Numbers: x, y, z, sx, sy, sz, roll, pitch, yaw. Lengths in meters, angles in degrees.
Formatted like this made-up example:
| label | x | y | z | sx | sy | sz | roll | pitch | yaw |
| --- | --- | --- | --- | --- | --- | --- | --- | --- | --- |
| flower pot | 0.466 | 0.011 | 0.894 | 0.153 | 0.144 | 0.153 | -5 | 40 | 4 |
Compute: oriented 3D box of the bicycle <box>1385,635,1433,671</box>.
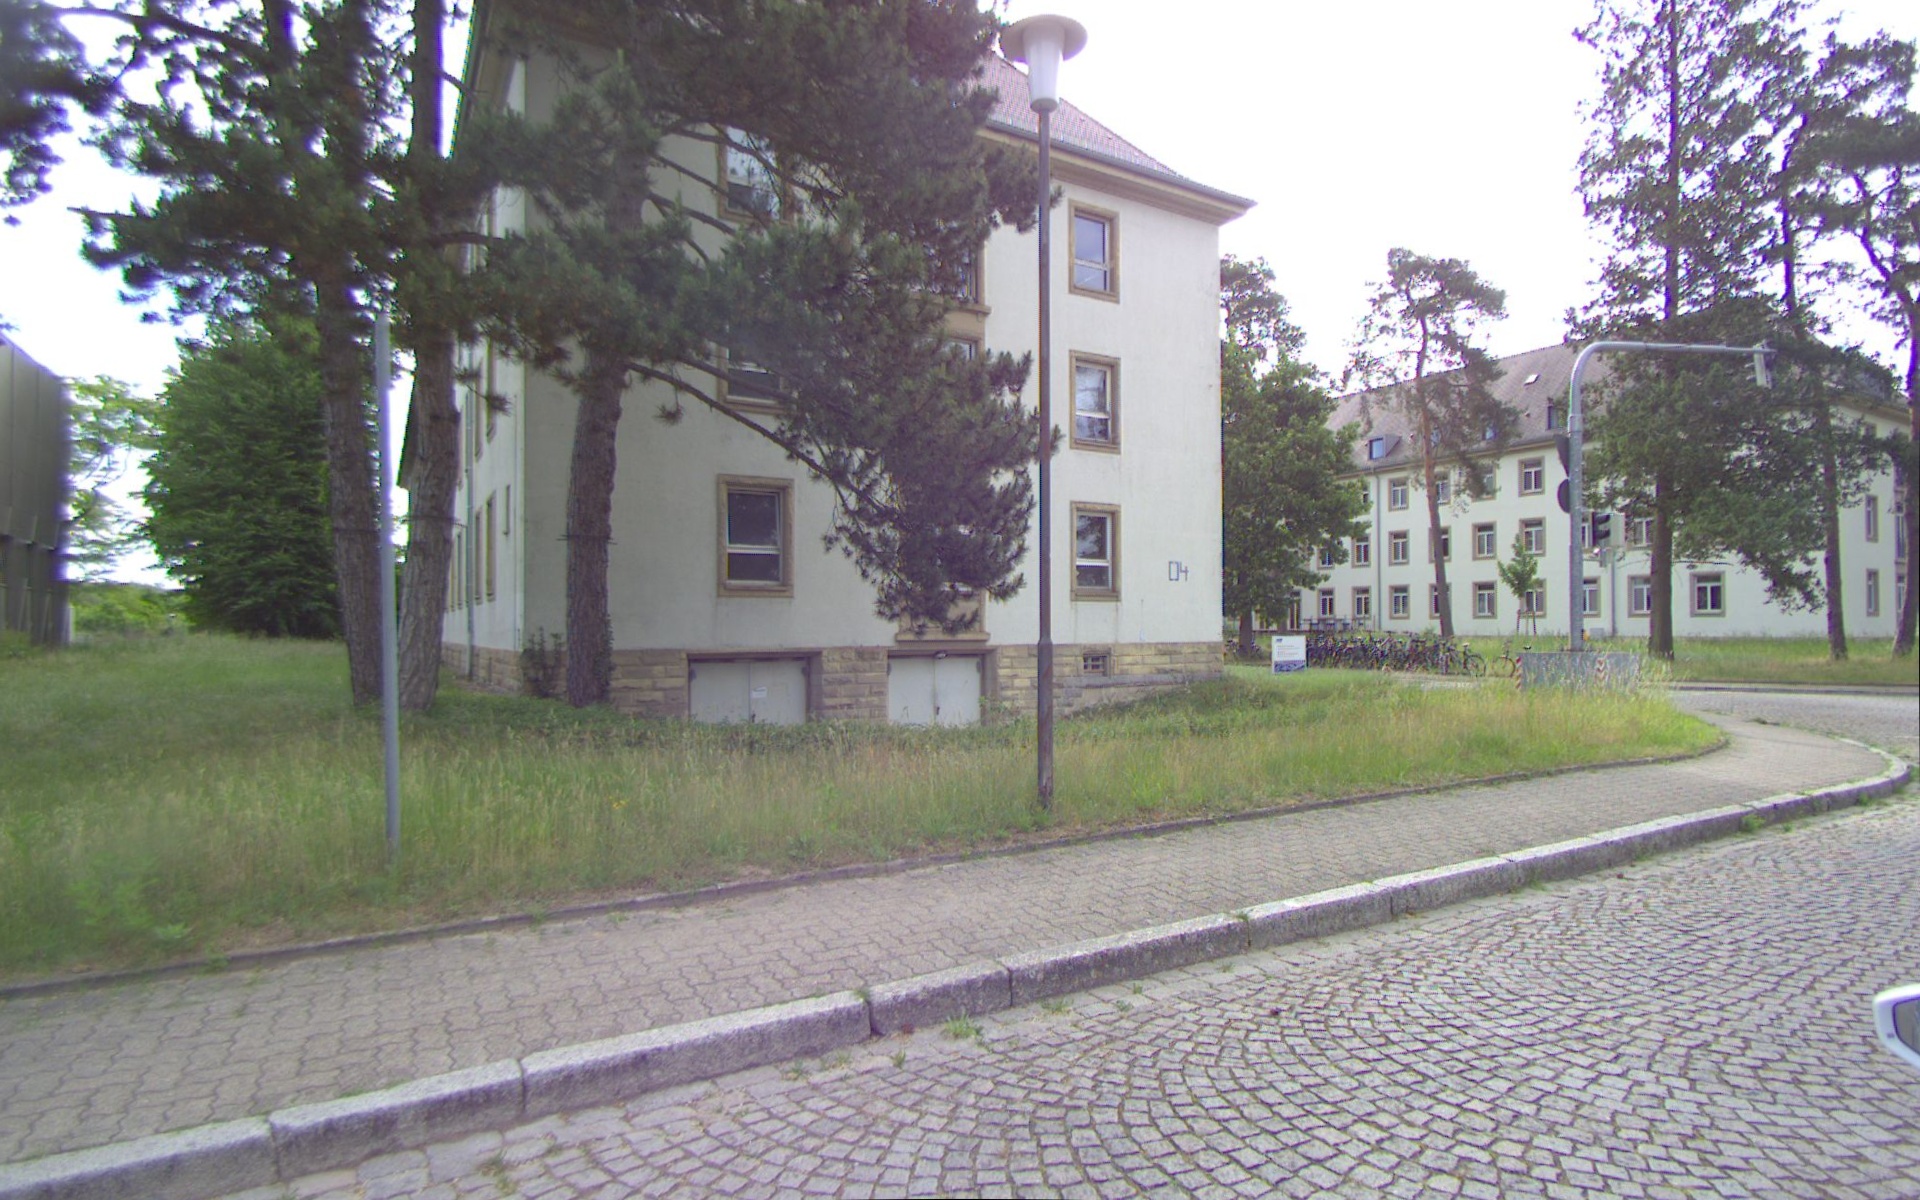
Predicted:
| label | x | y | z | sx | sy | sz | roll | pitch | yaw |
| --- | --- | --- | --- | --- | --- | --- | --- | --- | --- |
| bicycle | 15.263 | 1.779 | 34.110 | 1.909 | 1.193 | 0.524 | 1 | -2 | -33 |

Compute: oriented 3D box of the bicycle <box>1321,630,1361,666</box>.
| label | x | y | z | sx | sy | sz | roll | pitch | yaw |
| --- | --- | --- | --- | --- | --- | --- | --- | --- | --- |
| bicycle | 13.829 | 1.733 | 36.428 | 1.677 | 1.300 | 0.446 | 1 | -2 | -33 |

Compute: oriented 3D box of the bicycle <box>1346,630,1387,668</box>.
| label | x | y | z | sx | sy | sz | roll | pitch | yaw |
| --- | --- | --- | --- | --- | --- | --- | --- | --- | --- |
| bicycle | 14.418 | 1.732 | 35.596 | 1.677 | 1.300 | 0.446 | 1 | -2 | -33 |

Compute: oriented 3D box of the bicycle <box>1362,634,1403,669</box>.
| label | x | y | z | sx | sy | sz | roll | pitch | yaw |
| --- | --- | --- | --- | --- | --- | --- | --- | --- | --- |
| bicycle | 14.691 | 1.780 | 34.927 | 1.677 | 1.193 | 0.446 | 1 | -2 | -33 |

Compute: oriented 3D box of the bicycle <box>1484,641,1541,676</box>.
| label | x | y | z | sx | sy | sz | roll | pitch | yaw |
| --- | --- | --- | --- | --- | --- | --- | --- | --- | --- |
| bicycle | 16.299 | 1.712 | 29.652 | 0.447 | 1.009 | 1.453 | 1 | -2 | -29 |

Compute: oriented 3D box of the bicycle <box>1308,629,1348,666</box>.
| label | x | y | z | sx | sy | sz | roll | pitch | yaw |
| --- | --- | --- | --- | --- | --- | --- | --- | --- | --- |
| bicycle | 13.523 | 1.734 | 36.899 | 1.677 | 1.300 | 0.446 | 1 | -2 | -33 |

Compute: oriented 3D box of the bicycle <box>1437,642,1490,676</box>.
| label | x | y | z | sx | sy | sz | roll | pitch | yaw |
| --- | --- | --- | --- | --- | --- | --- | --- | --- | --- |
| bicycle | 15.506 | 1.810 | 30.950 | 0.447 | 1.009 | 1.453 | 1 | -2 | -29 |

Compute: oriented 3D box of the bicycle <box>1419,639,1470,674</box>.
| label | x | y | z | sx | sy | sz | roll | pitch | yaw |
| --- | --- | --- | --- | --- | --- | --- | --- | --- | --- |
| bicycle | 15.953 | 1.841 | 33.037 | 1.975 | 1.092 | 0.571 | 1 | -2 | -33 |

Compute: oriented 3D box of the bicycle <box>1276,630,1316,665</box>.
| label | x | y | z | sx | sy | sz | roll | pitch | yaw |
| --- | --- | --- | --- | --- | --- | --- | --- | --- | --- |
| bicycle | 12.833 | 1.798 | 38.376 | 1.766 | 1.300 | 0.440 | 1 | -2 | -33 |

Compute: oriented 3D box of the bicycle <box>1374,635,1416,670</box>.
| label | x | y | z | sx | sy | sz | roll | pitch | yaw |
| --- | --- | --- | --- | --- | --- | --- | --- | --- | --- |
| bicycle | 14.955 | 1.792 | 34.521 | 1.677 | 1.193 | 0.446 | 1 | -2 | -33 |

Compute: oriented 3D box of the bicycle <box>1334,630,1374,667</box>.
| label | x | y | z | sx | sy | sz | roll | pitch | yaw |
| --- | --- | --- | --- | --- | --- | --- | --- | --- | --- |
| bicycle | 14.127 | 1.732 | 36.008 | 1.677 | 1.300 | 0.446 | 1 | -2 | -33 |

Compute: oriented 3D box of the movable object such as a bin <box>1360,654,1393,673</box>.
| label | x | y | z | sx | sy | sz | roll | pitch | yaw |
| --- | --- | --- | --- | --- | --- | --- | --- | --- | --- |
| movable object such as a bin | 11.828 | 1.791 | 28.536 | 0.439 | 0.510 | 0.746 | 1 | -2 | -29 |

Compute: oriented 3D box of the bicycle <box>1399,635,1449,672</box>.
| label | x | y | z | sx | sy | sz | roll | pitch | yaw |
| --- | --- | --- | --- | --- | --- | --- | --- | --- | --- |
| bicycle | 15.521 | 1.777 | 33.584 | 1.933 | 1.193 | 0.571 | 1 | -2 | -33 |

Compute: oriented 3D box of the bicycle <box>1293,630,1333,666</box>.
| label | x | y | z | sx | sy | sz | roll | pitch | yaw |
| --- | --- | --- | --- | --- | --- | --- | --- | --- | --- |
| bicycle | 13.163 | 1.789 | 37.456 | 1.677 | 1.300 | 0.446 | 1 | -2 | -33 |

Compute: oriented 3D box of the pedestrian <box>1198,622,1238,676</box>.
| label | x | y | z | sx | sy | sz | roll | pitch | yaw |
| --- | --- | --- | --- | --- | --- | --- | --- | --- | --- |
| pedestrian | 8.237 | 1.550 | 32.114 | 0.928 | 1.690 | 0.856 | 1 | -1 | -29 |
